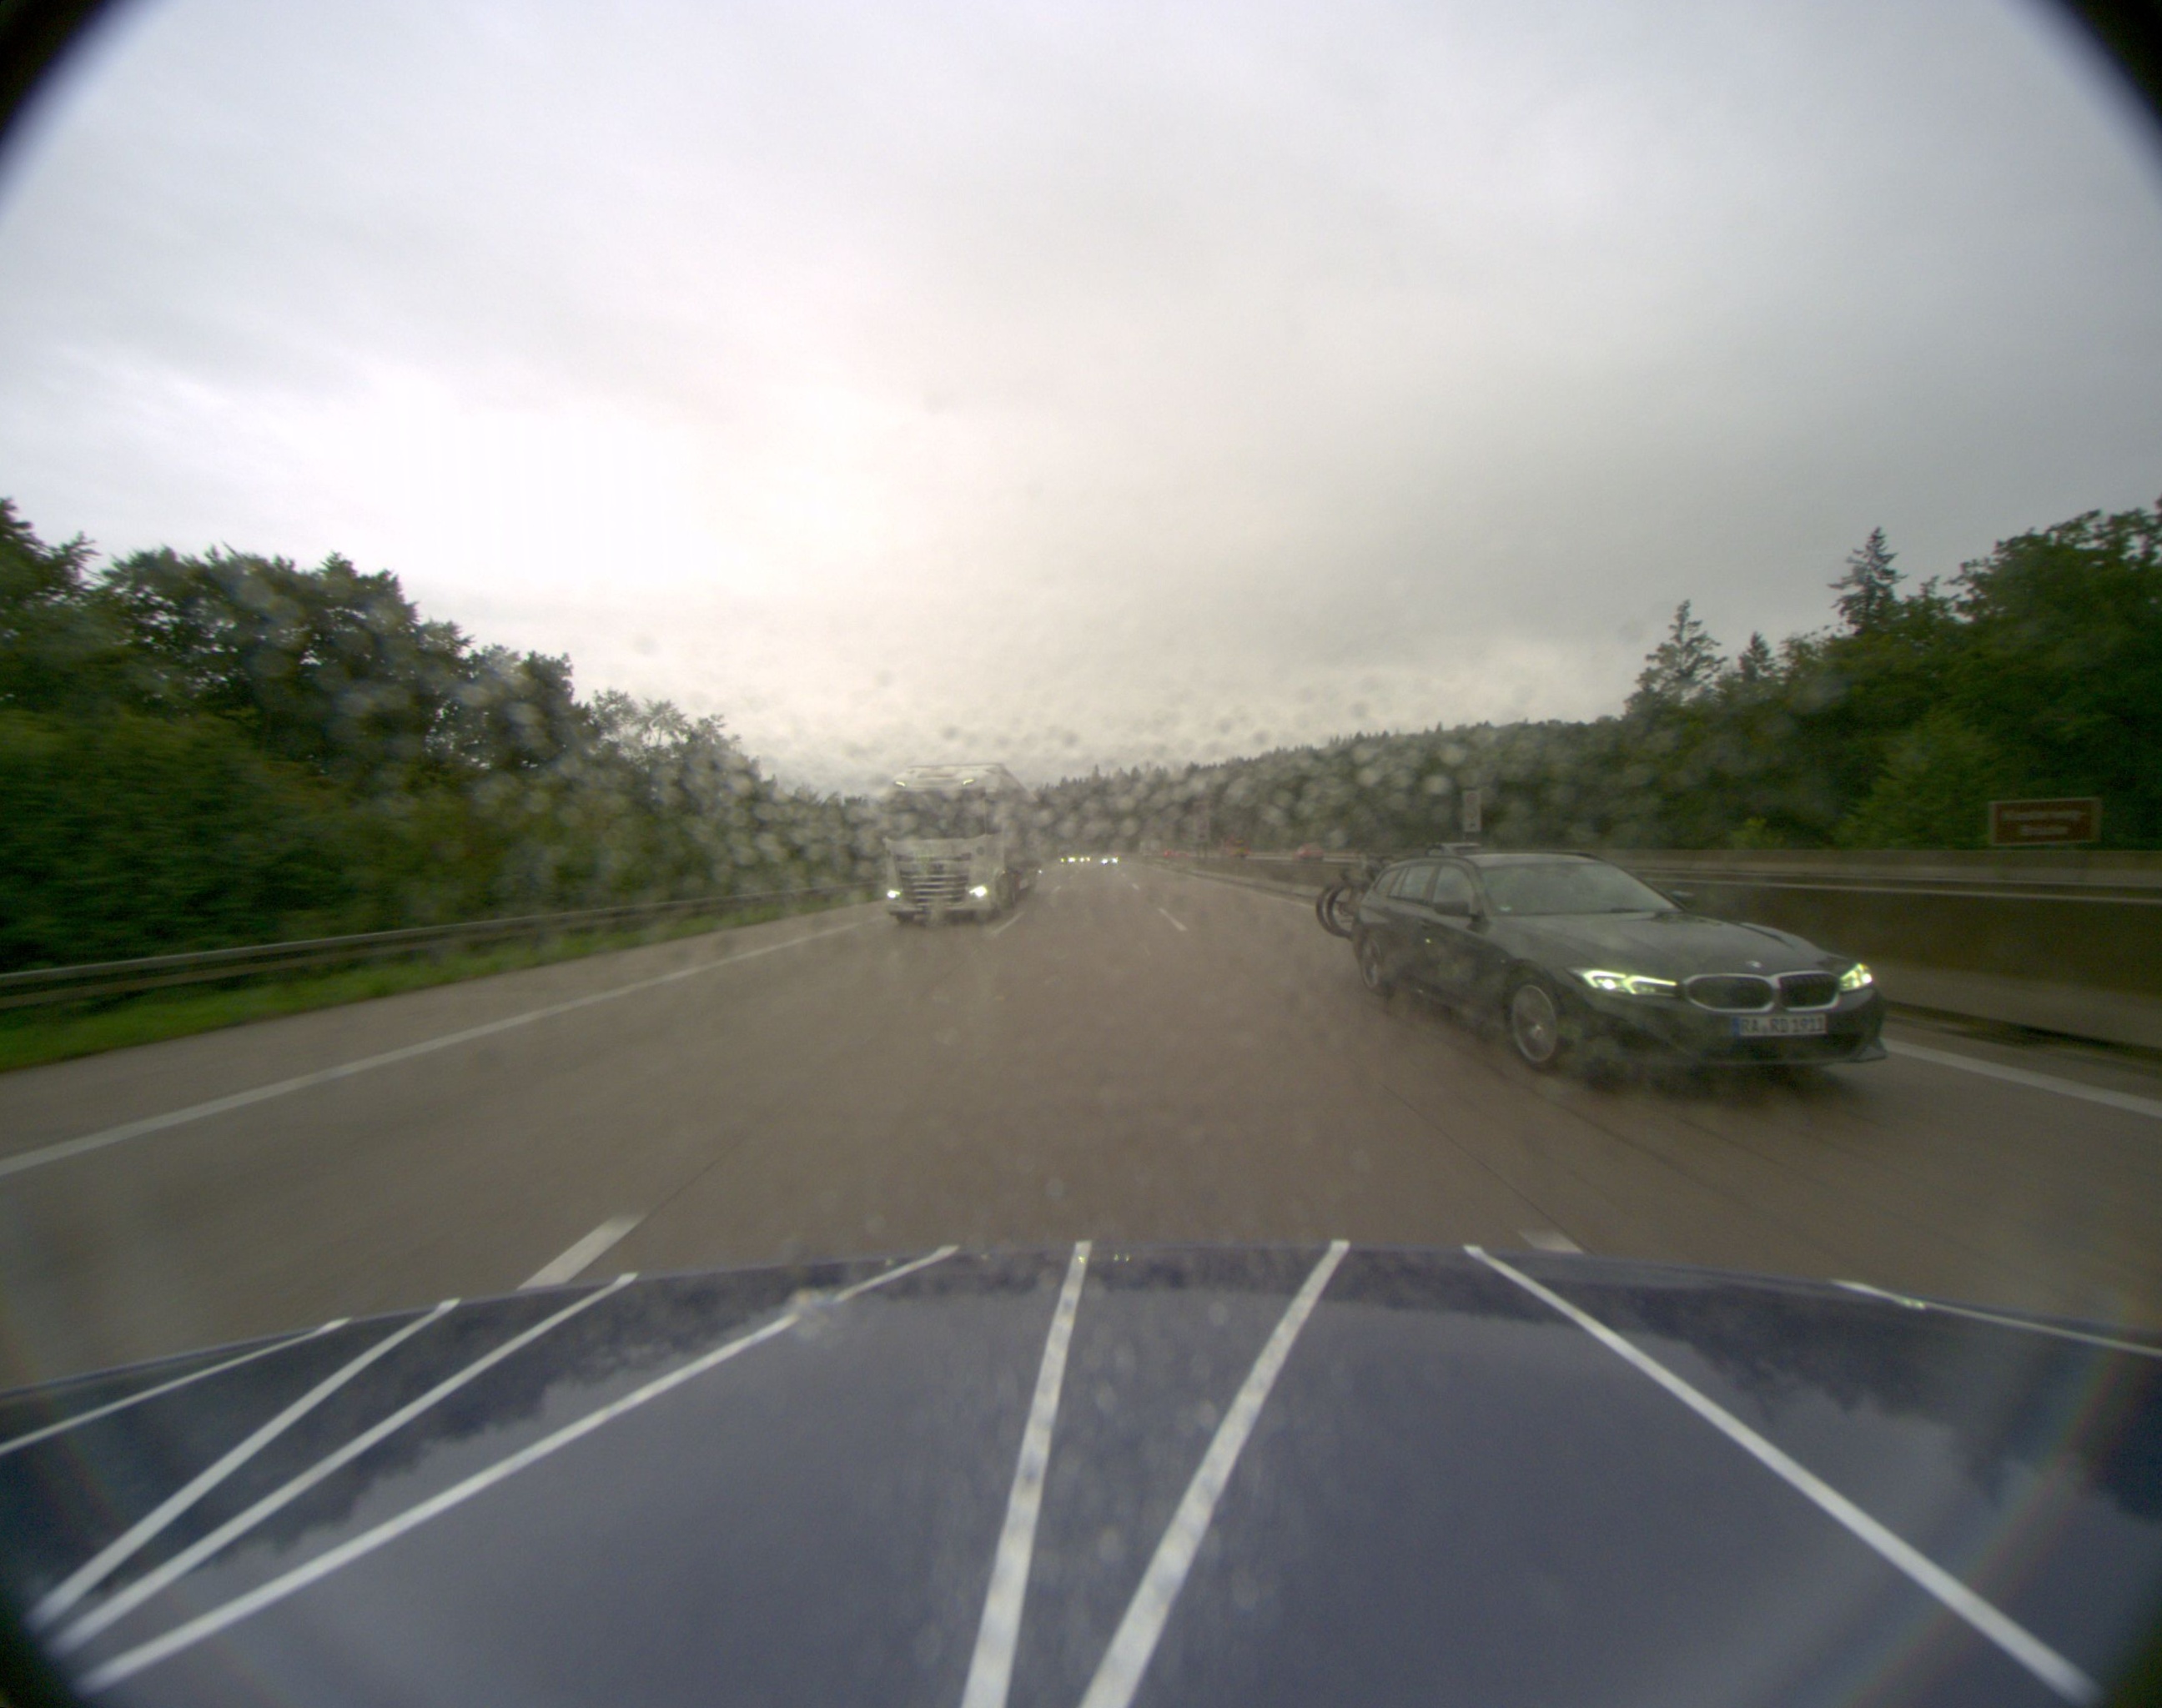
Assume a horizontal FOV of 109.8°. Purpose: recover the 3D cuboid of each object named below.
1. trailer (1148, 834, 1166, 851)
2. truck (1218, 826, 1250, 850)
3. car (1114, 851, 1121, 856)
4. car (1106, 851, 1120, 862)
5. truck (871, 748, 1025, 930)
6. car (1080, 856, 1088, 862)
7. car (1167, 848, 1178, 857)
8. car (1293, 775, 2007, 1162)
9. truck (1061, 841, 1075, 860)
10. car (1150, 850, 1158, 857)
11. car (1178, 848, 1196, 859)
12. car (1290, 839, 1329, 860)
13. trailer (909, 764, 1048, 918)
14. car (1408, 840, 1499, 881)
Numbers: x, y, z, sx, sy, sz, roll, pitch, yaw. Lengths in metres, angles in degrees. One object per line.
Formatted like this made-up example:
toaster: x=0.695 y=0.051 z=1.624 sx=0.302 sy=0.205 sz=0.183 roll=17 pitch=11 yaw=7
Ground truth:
trailer: x=19.476 y=-2.931 z=195.730 sx=2.954 sy=4.009 sz=13.787 roll=-3 pitch=0 yaw=0
truck: x=21.336 y=-2.145 z=106.612 sx=2.438 sy=3.156 sz=10.662 roll=-3 pitch=0 yaw=2
car: x=10.252 y=-0.140 z=214.245 sx=1.890 sy=1.539 sz=4.777 roll=-3 pitch=0 yaw=1
car: x=4.413 y=0.358 z=104.899 sx=1.716 sy=1.399 sz=4.936 roll=-1 pitch=0 yaw=1
truck: x=-3.207 y=-0.342 z=20.010 sx=2.728 sy=4.017 sz=5.753 roll=-2 pitch=0 yaw=2
car: x=0.656 y=1.155 z=170.401 sx=1.717 sy=1.399 sz=4.935 roll=-1 pitch=0 yaw=-2
car: x=17.588 y=-0.331 z=146.278 sx=1.709 sy=1.569 sz=4.268 roll=-3 pitch=0 yaw=1
car: x=3.781 y=0.577 z=6.973 sx=1.912 sy=1.933 sz=6.162 roll=-2 pitch=0 yaw=0
truck: x=-2.876 y=-0.740 z=172.699 sx=2.737 sy=4.127 sz=8.622 roll=-2 pitch=0 yaw=1
car: x=17.134 y=-0.117 z=178.971 sx=1.661 sy=1.512 sz=3.638 roll=-3 pitch=0 yaw=1
car: x=15.055 y=-0.047 z=108.352 sx=1.998 sy=1.382 sz=4.751 roll=-3 pitch=0 yaw=2
car: x=20.116 y=-0.388 z=67.098 sx=1.998 sy=1.689 sz=4.974 roll=-2 pitch=0 yaw=1
trailer: x=-3.004 y=-0.376 z=26.957 sx=2.686 sy=4.017 sz=13.704 roll=-2 pitch=0 yaw=1
car: x=15.504 y=0.241 z=31.890 sx=1.612 sy=1.545 sz=4.642 roll=-2 pitch=0 yaw=1
